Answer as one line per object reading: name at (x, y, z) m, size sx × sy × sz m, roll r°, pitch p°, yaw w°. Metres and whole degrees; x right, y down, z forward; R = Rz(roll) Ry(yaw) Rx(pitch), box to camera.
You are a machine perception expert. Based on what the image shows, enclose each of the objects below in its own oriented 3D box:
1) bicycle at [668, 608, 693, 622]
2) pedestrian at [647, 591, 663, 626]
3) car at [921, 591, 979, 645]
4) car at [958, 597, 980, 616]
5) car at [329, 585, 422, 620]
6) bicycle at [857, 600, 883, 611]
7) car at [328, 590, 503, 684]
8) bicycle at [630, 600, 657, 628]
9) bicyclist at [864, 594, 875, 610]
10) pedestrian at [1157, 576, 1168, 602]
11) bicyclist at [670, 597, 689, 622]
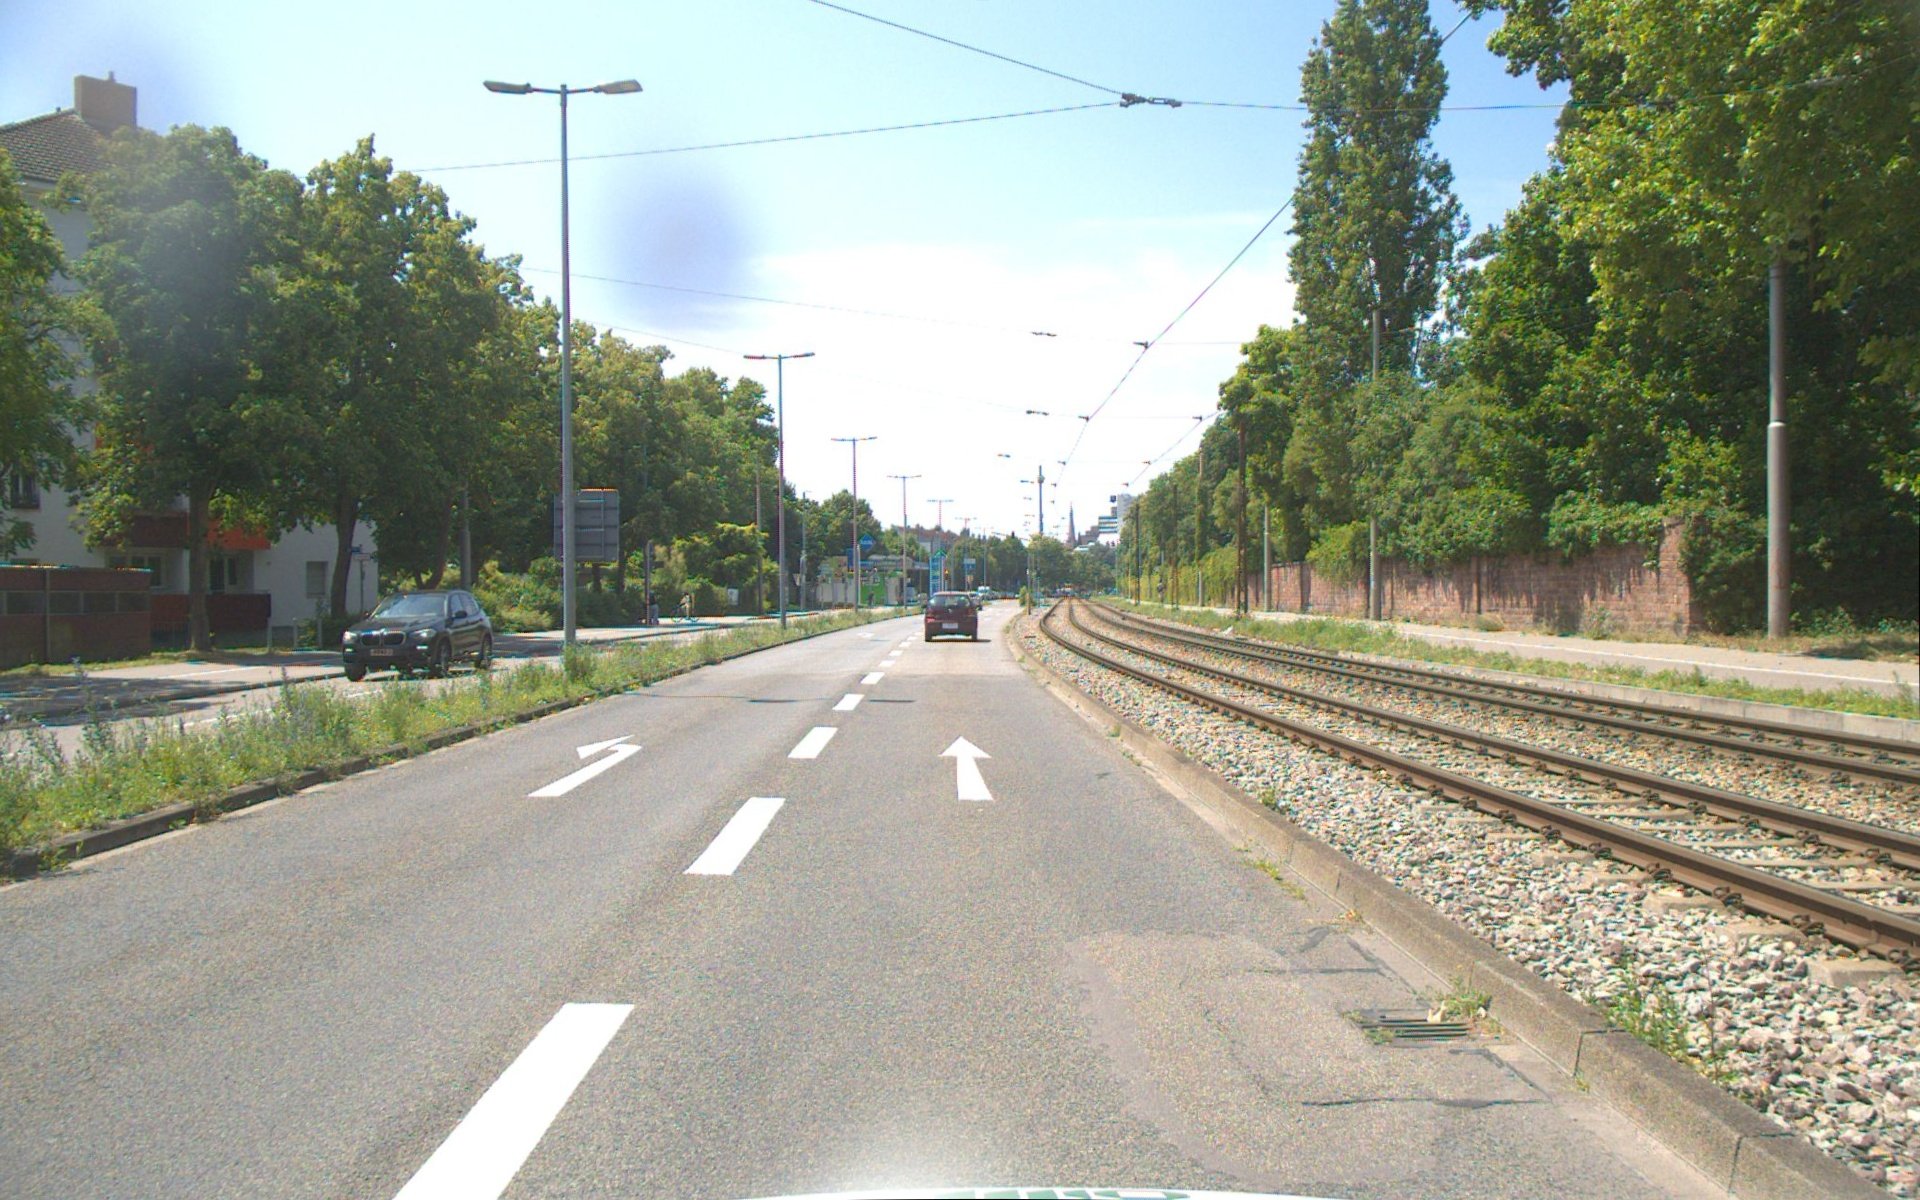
bicycle at (-16.535, 0.888, 97.786) m, size 1.418 × 0.787 × 0.491 m, roll -2°, pitch 1°, yaw -38°
pedestrian at (-15.191, 0.419, 82.279) m, size 0.537 × 1.748 × 0.604 m, roll -1°, pitch 0°, yaw 16°
car at (-0.290, 0.551, 50.235) m, size 1.668 × 1.503 × 3.716 m, roll 2°, pitch -1°, yaw 0°
car at (0.683, 0.542, 133.282) m, size 1.668 × 1.506 × 3.715 m, roll 0°, pitch 0°, yaw -1°
car at (-32.801, 0.135, 92.923) m, size 4.577 × 1.789 × 1.997 m, roll -2°, pitch 0°, yaw -7°
bicycle at (-9.214, 0.590, 169.043) m, size 2.504 × 1.056 × 1.085 m, roll 1°, pitch -1°, yaw -11°
car at (-10.691, 0.674, 32.857) m, size 1.884 × 1.654 × 4.756 m, roll -2°, pitch 0°, yaw -1°
bicycle at (-15.767, 0.681, 82.449) m, size 0.632 × 1.351 × 1.574 m, roll -1°, pitch 0°, yaw 16°
bicyclist at (-9.262, 0.171, 169.066) m, size 0.927 × 1.621 × 1.085 m, roll 1°, pitch -1°, yaw -11°
pedestrian at (13.613, -0.750, 111.181) m, size 0.648 × 1.756 × 0.817 m, roll -1°, pitch 0°, yaw 2°
bicyclist at (-16.593, 0.558, 97.744) m, size 0.954 × 1.427 × 0.484 m, roll -2°, pitch 0°, yaw -38°
